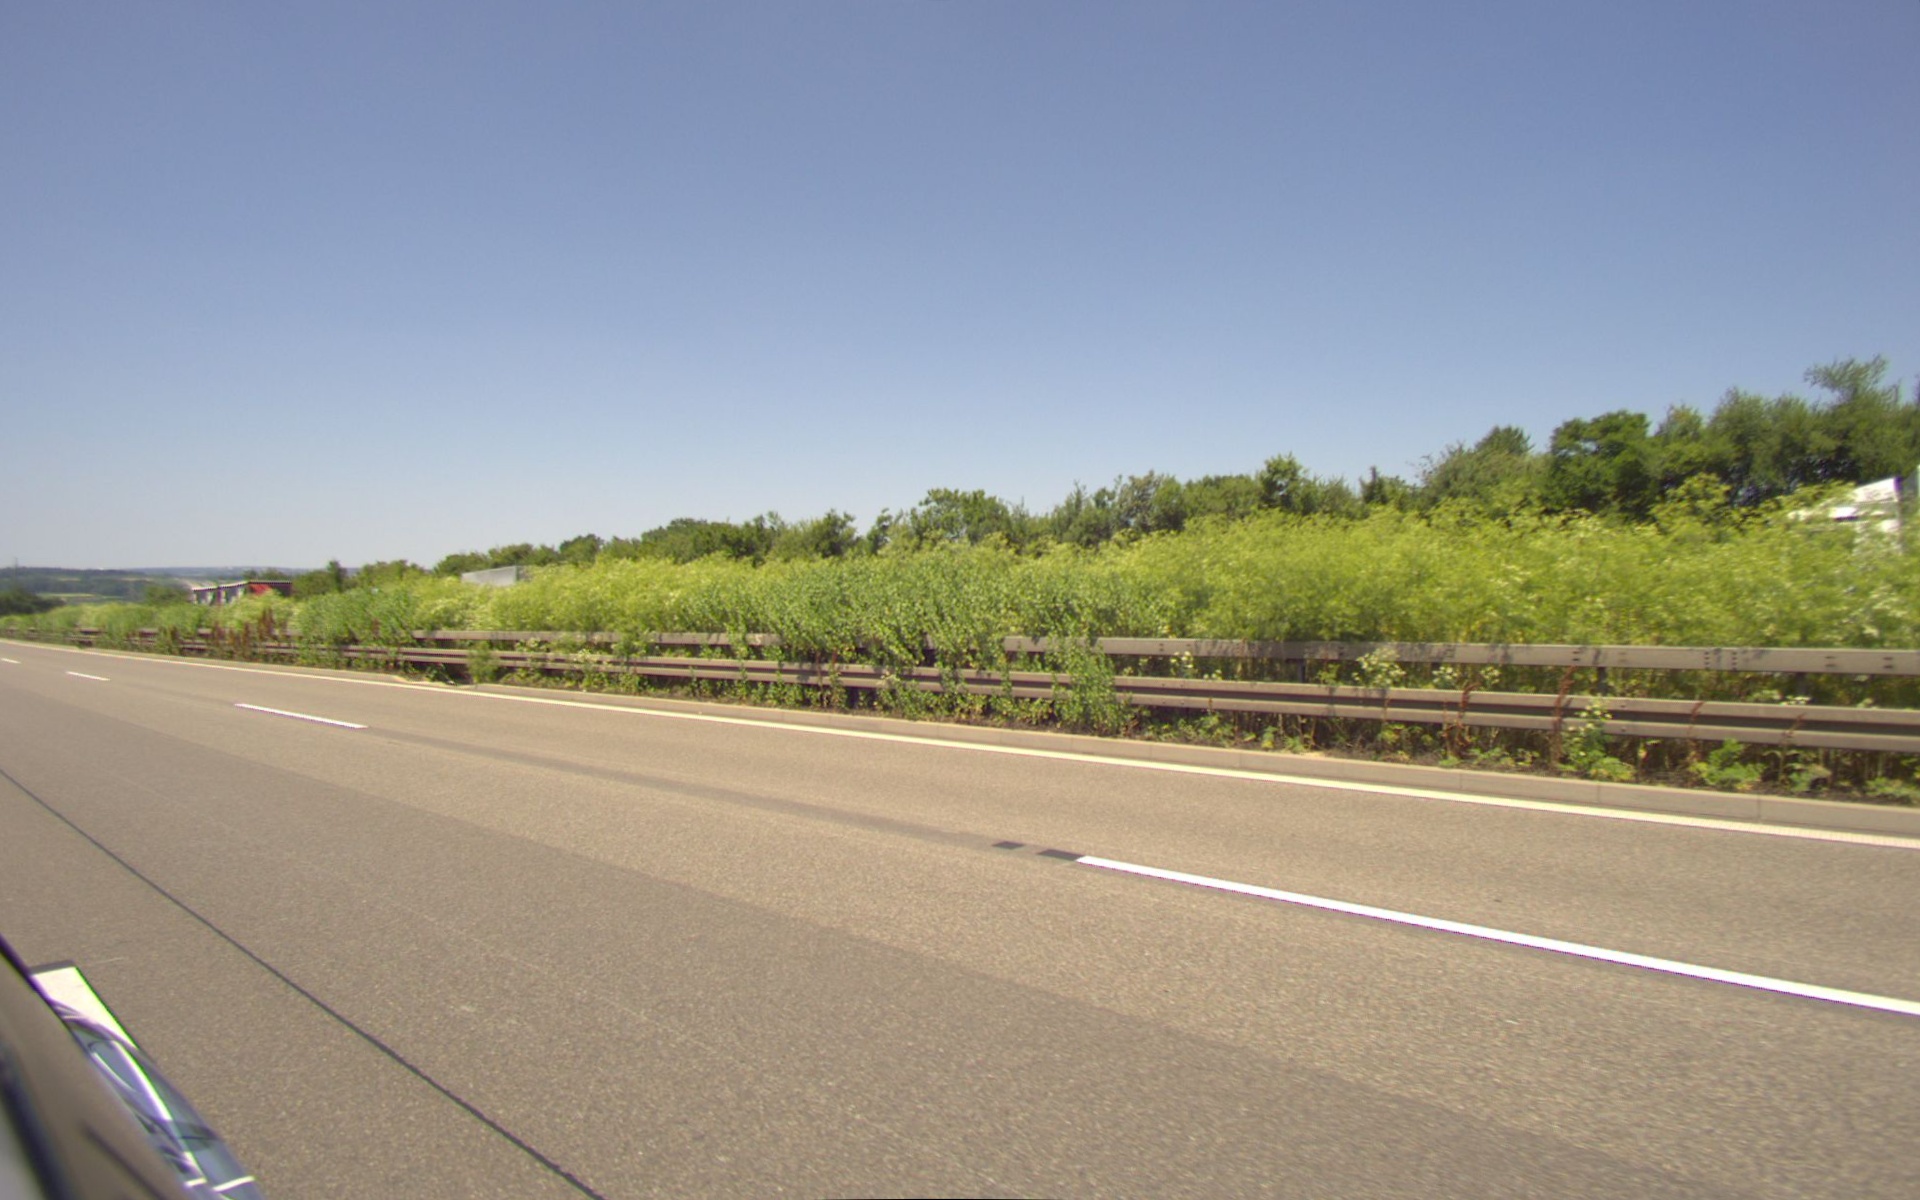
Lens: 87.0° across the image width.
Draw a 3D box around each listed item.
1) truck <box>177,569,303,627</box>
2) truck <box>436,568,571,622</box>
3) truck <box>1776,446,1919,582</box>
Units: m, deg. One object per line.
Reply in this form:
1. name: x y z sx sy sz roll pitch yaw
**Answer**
1. truck: -53.331 0.011 74.554 18.520 3.638 3.197 -2 1 41
2. truck: -19.246 -0.119 42.483 6.791 2.029 2.467 -2 -2 40
3. truck: 18.579 -1.509 15.126 9.850 2.029 2.626 -2 -2 41
